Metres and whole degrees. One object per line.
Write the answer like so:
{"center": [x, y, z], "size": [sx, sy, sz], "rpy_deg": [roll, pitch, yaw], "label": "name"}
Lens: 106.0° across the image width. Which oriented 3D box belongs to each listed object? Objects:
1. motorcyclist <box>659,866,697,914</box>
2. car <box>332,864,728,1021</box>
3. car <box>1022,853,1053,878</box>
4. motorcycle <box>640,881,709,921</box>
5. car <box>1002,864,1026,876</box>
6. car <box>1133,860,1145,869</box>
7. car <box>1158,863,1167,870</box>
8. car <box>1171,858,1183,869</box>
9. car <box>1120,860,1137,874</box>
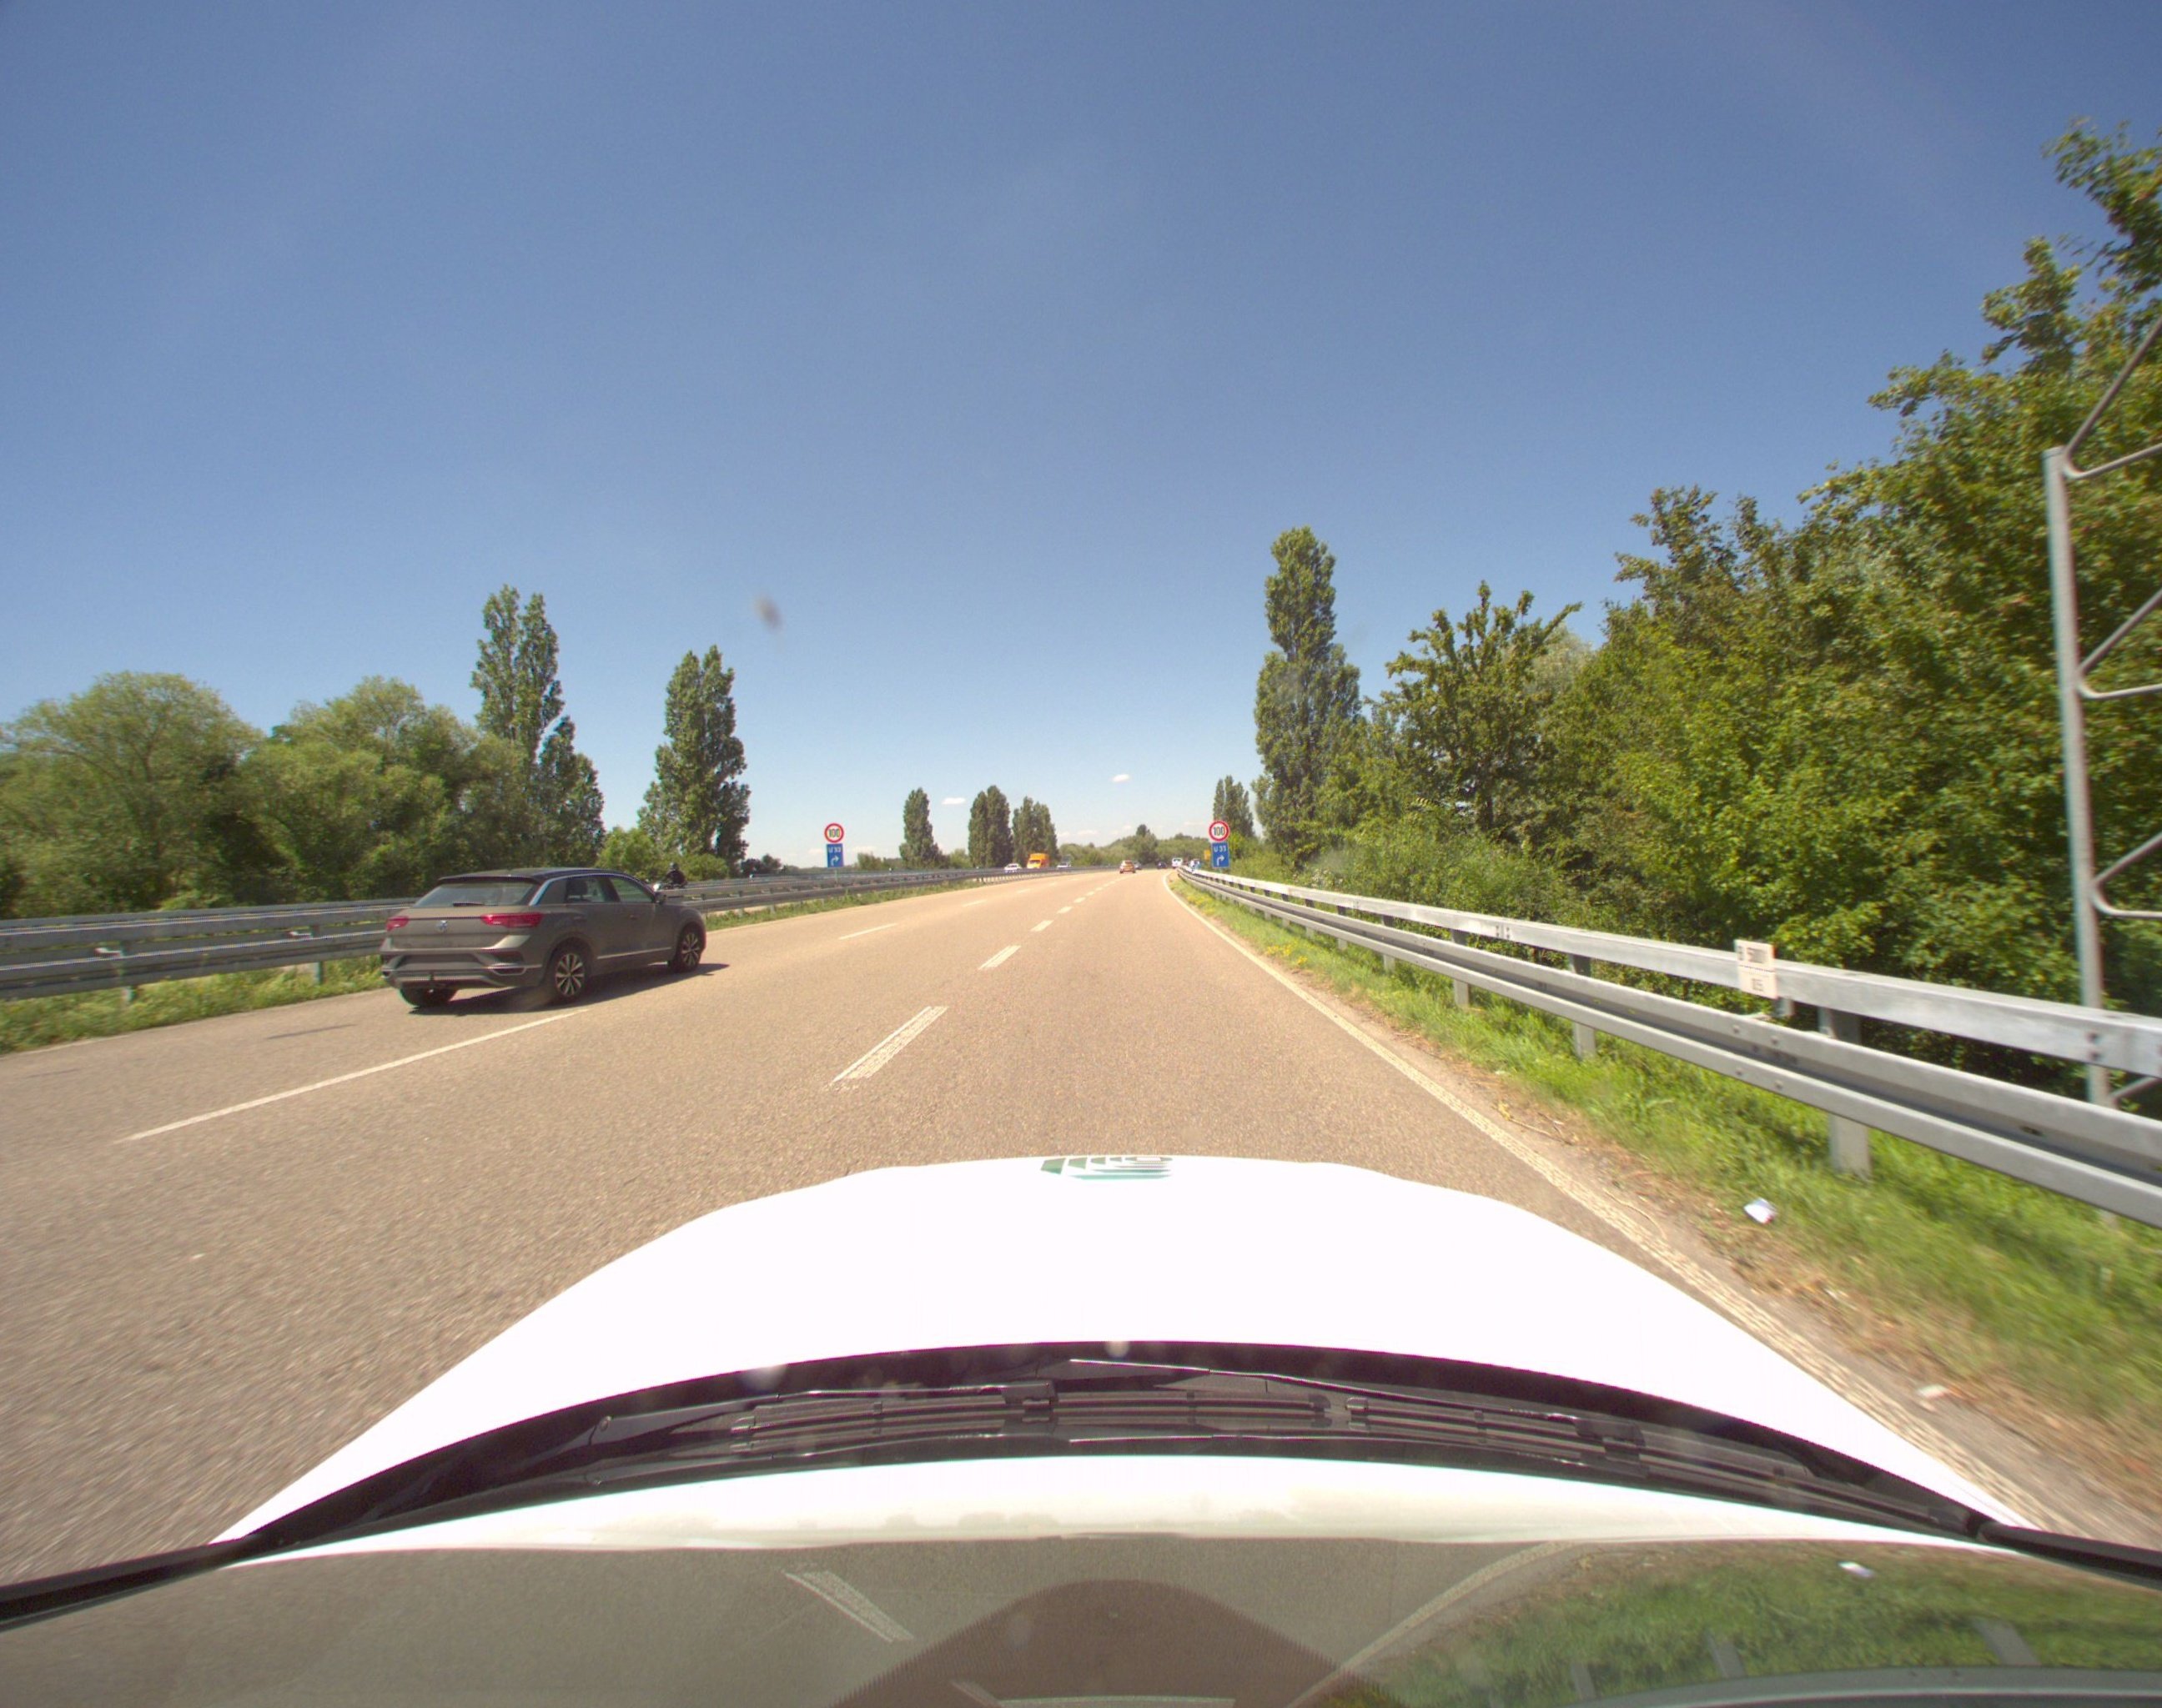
{"center": [-12.712, 1.132, 25.697], "size": [0.788, 1.434, 0.768], "rpy_deg": [-2, -2, 2], "label": "motorcyclist"}
{"center": [-6.594, 0.932, 10.523], "size": [1.833, 1.530, 4.474], "rpy_deg": [-1, 0, 4], "label": "car"}
{"center": [-6.056, 1.549, 114.717], "size": [2.289, 3.292, 7.053], "rpy_deg": [-3, -1, 13], "label": "car"}
{"center": [-12.713, 1.457, 25.573], "size": [0.788, 1.144, 2.530], "rpy_deg": [-2, -2, 2], "label": "motorcycle"}
{"center": [-8.237, 1.947, 100.949], "size": [1.842, 1.432, 4.806], "rpy_deg": [-3, -1, 8], "label": "car"}
{"center": [9.976, 1.827, 140.272], "size": [1.831, 1.451, 4.007], "rpy_deg": [-1, 0, 7], "label": "car"}
{"center": [18.784, 2.796, 187.375], "size": [1.932, 1.464, 4.010], "rpy_deg": [-1, 0, 9], "label": "car"}
{"center": [17.206, 1.690, 146.180], "size": [1.829, 1.895, 4.012], "rpy_deg": [-1, 0, 11], "label": "car"}
{"center": [5.602, 1.522, 95.872], "size": [1.833, 1.464, 4.004], "rpy_deg": [-1, 0, 4], "label": "car"}
